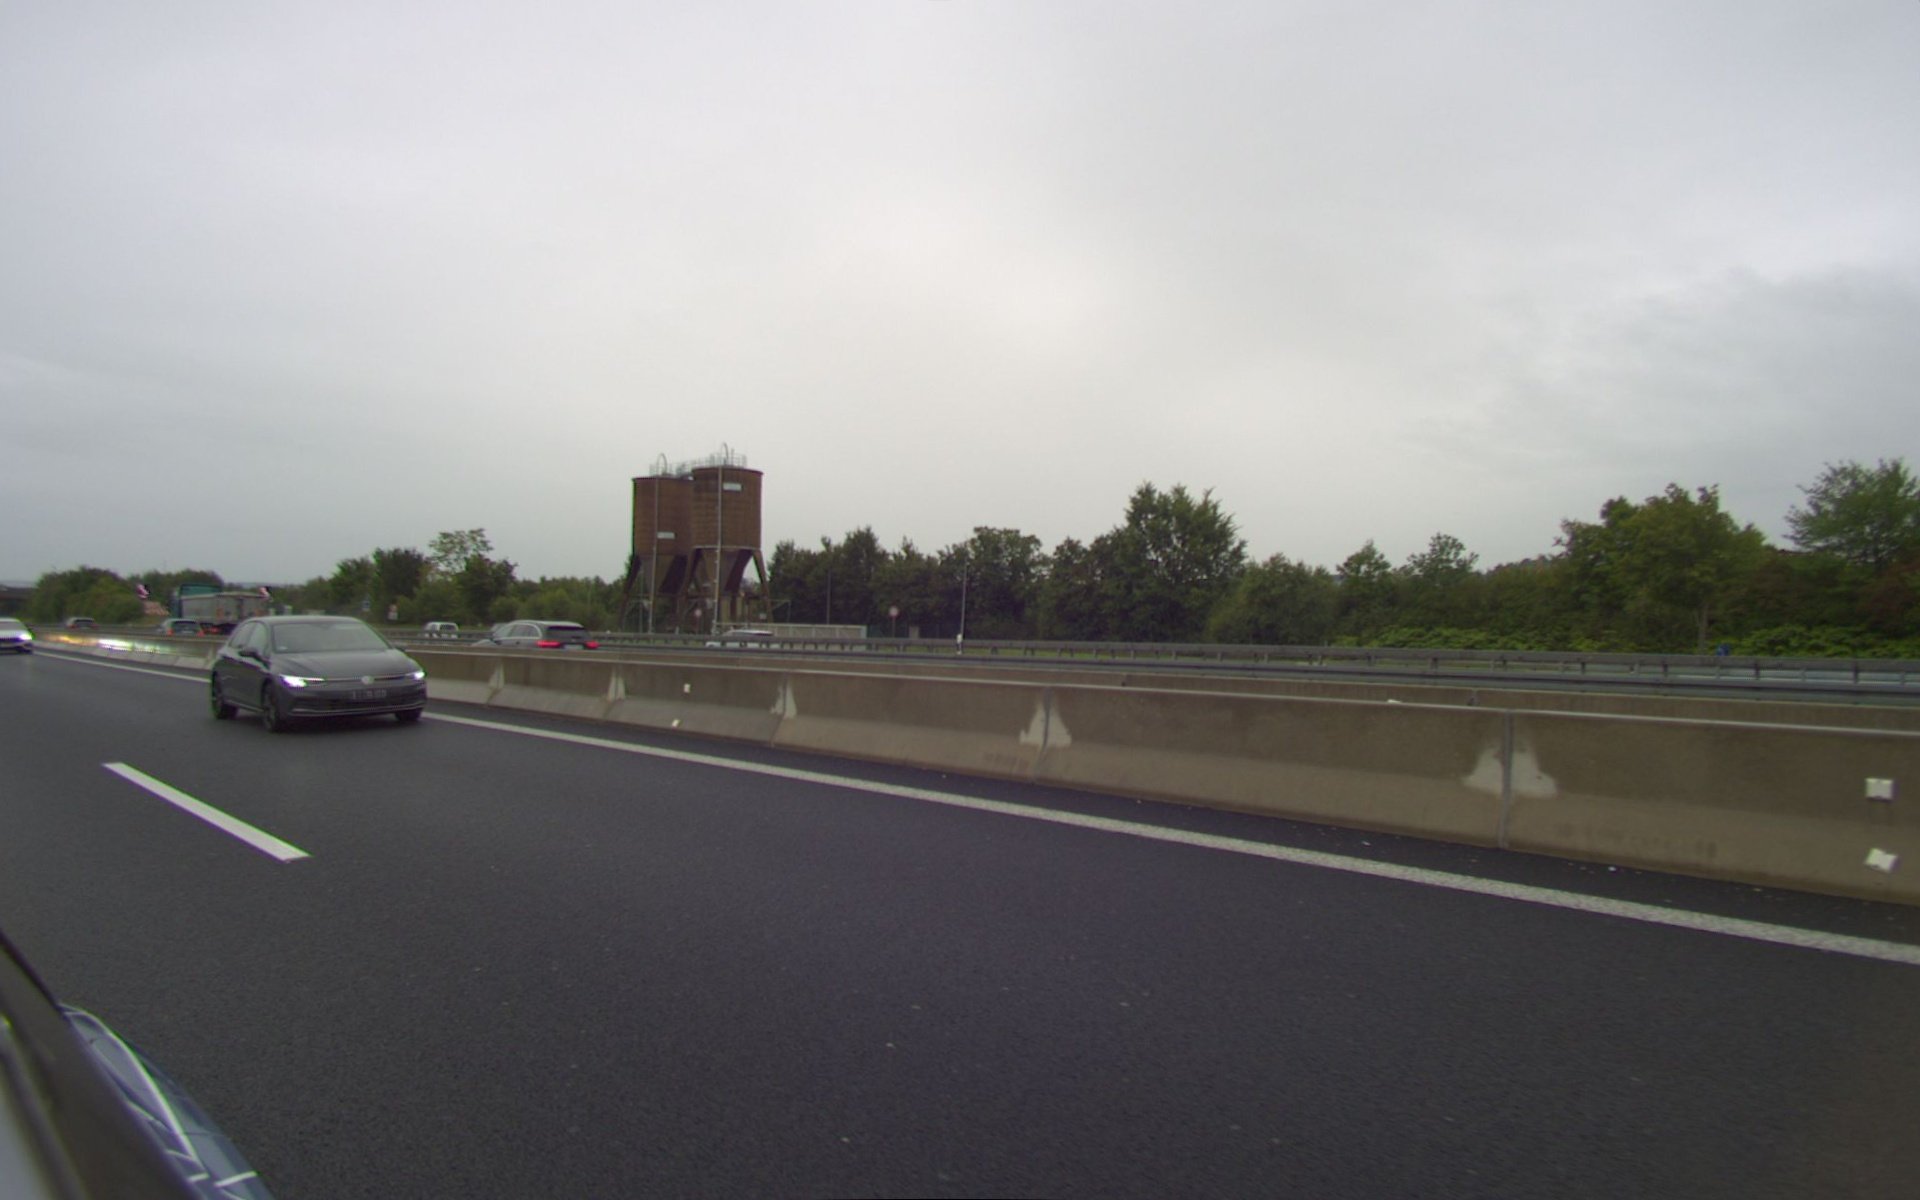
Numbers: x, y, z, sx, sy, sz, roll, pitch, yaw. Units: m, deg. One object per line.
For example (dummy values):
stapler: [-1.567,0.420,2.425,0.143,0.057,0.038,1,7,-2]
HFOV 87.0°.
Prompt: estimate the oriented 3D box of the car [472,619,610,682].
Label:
car: [-11.075,1.276,26.635,3.998,1.519,1.779,-1,-2,41]

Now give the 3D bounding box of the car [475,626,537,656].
car: [-28.670,2.567,63.838,4.459,1.822,1.883,-1,-1,41]

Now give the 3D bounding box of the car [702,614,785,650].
car: [-11.376,1.669,52.957,4.503,1.775,1.972,-1,-2,42]

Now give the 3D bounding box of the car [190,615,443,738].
car: [-9.065,0.950,14.105,4.365,1.436,1.811,-1,-1,41]

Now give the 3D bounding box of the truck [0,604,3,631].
truck: [-161.104,2.927,166.579,12.881,4.511,3.739,-1,-1,40]

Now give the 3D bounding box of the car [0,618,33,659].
car: [-39.990,1.589,41.936,4.816,1.603,1.972,-1,-1,43]

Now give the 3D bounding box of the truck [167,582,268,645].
truck: [-47.862,0.817,65.045,11.908,3.738,2.937,-1,0,43]

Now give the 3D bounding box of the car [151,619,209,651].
car: [-40.847,1.803,52.975,3.998,1.608,1.695,-1,-1,41]

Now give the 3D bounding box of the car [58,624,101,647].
car: [-65.800,2.617,75.605,3.996,1.644,1.762,-1,-2,39]

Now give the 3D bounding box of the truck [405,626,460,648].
truck: [-42.200,2.909,80.946,5.401,1.657,1.973,-1,0,40]
